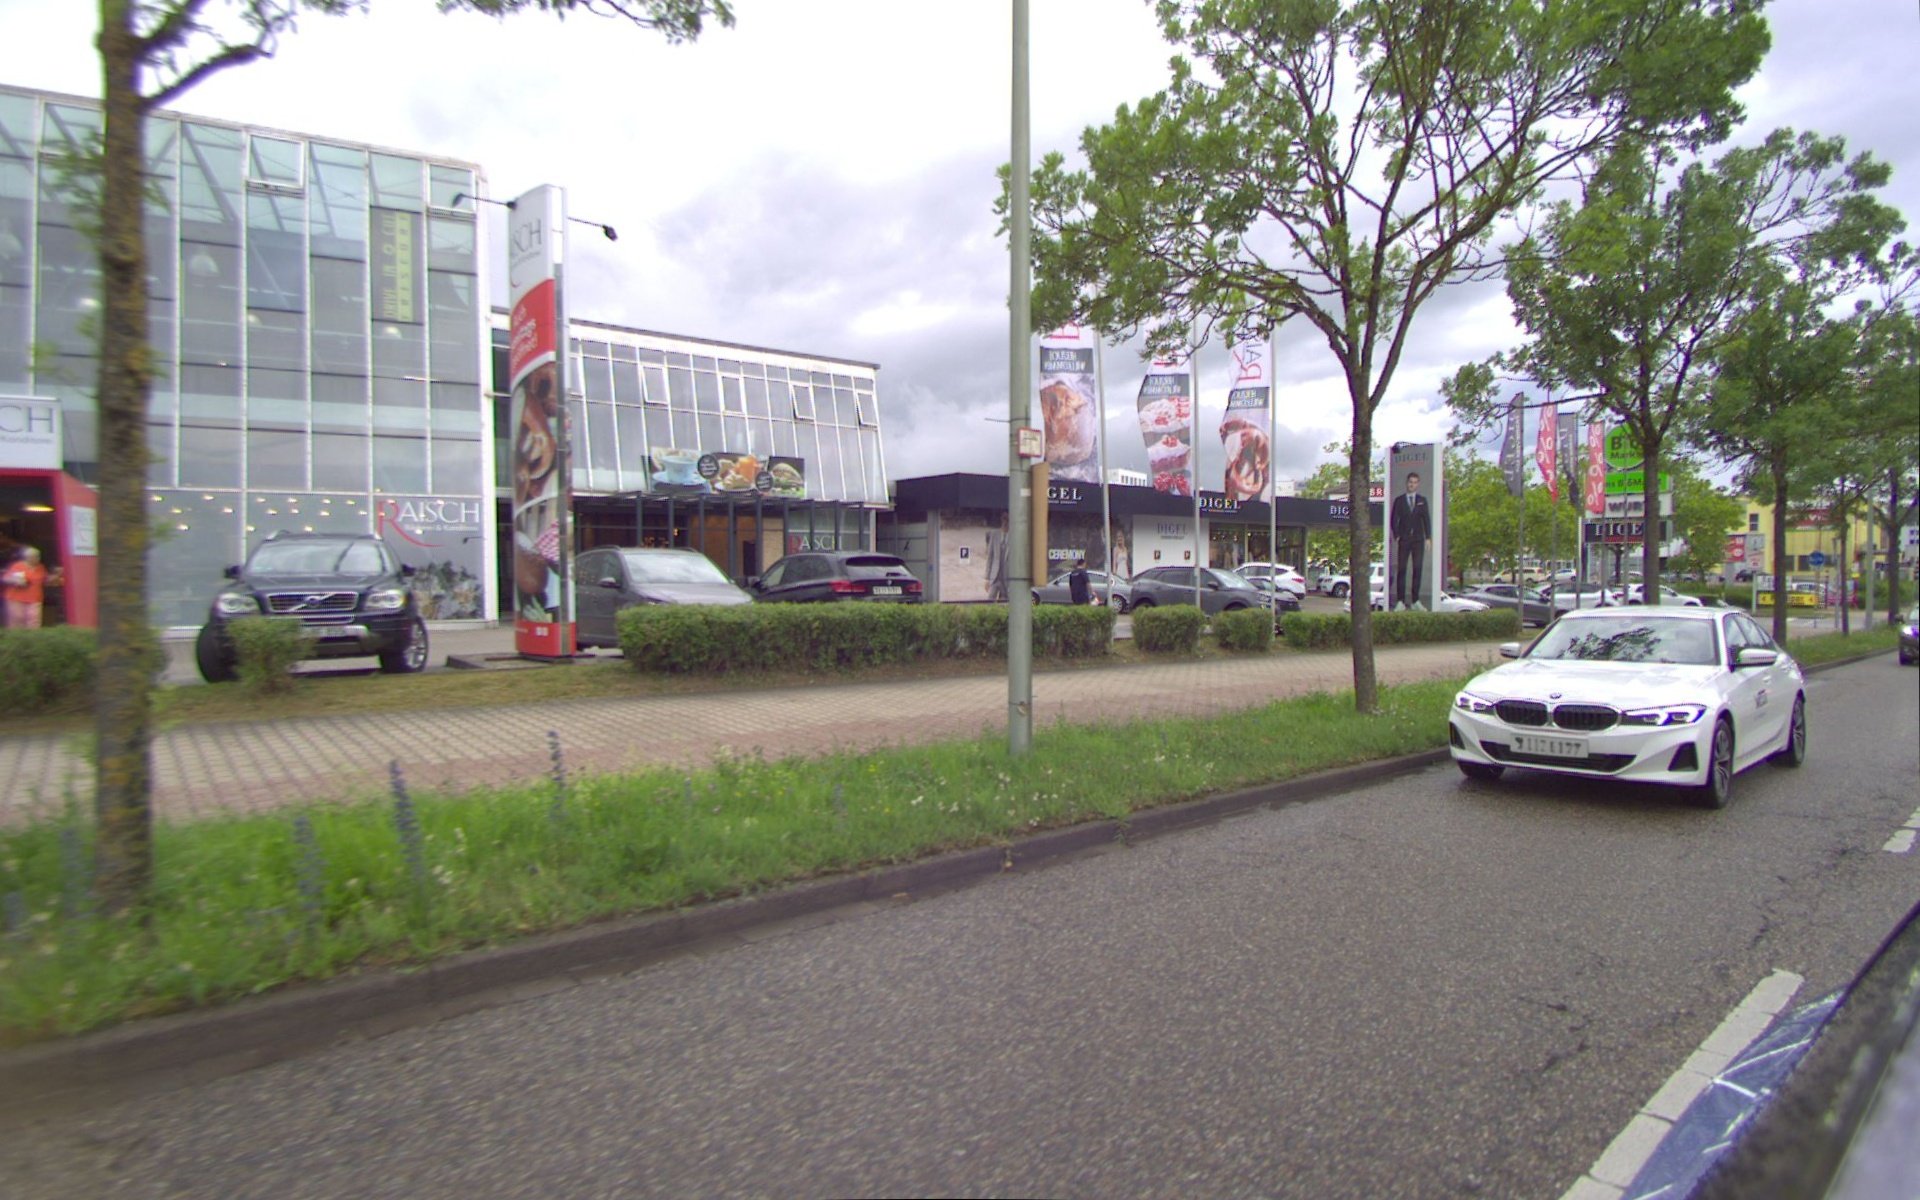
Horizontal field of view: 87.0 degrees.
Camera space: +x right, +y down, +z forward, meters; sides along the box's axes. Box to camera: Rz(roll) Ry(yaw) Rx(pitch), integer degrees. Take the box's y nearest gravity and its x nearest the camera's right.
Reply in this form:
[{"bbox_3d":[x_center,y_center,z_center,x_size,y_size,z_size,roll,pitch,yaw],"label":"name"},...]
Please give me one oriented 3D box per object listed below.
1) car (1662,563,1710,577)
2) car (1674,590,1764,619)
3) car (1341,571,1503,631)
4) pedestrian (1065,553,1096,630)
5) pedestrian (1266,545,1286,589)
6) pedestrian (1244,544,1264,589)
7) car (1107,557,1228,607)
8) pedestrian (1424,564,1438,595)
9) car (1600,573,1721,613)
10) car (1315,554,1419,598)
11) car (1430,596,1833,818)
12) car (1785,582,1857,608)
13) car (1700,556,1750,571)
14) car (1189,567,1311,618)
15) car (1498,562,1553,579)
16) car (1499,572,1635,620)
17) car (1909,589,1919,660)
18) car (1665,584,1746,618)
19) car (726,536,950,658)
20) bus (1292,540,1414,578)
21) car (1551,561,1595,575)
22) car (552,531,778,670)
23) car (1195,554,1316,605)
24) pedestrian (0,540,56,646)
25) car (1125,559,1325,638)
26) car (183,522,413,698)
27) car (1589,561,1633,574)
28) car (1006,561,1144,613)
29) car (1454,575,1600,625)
[{"bbox_3d":[80.232,-3.345,111.897,1.768,1.529,3.996,0,2,-40],"label":"car"},{"bbox_3d":[44.014,0.216,58.740,1.716,1.528,3.989,-4,3,-45],"label":"car"},{"bbox_3d":[13.964,-0.015,30.820,4.122,1.490,1.783,3,3,14],"label":"car"},{"bbox_3d":[2.925,-0.202,24.589,0.624,1.812,0.847,-1,-1,14],"label":"pedestrian"},{"bbox_3d":[14.914,-1.553,47.721,0.646,2.039,0.612,0,-1,-40],"label":"pedestrian"},{"bbox_3d":[13.497,-1.529,46.465,0.646,2.039,0.612,0,-1,-40],"label":"pedestrian"},{"bbox_3d":[7.252,-0.661,35.769,3.975,1.495,1.798,3,4,8],"label":"car"},{"bbox_3d":[26.347,-1.135,56.583,0.556,1.702,0.473,1,0,-27],"label":"pedestrian"},{"bbox_3d":[32.695,-0.334,47.331,4.237,1.598,1.742,3,3,4],"label":"car"},{"bbox_3d":[18.855,-1.134,47.008,4.045,1.766,1.798,3,4,7],"label":"car"},{"bbox_3d":[6.018,0.706,8.838,4.462,1.459,1.806,0,-1,-41],"label":"car"},{"bbox_3d":[64.752,-0.398,76.180,3.981,1.834,1.743,2,2,39],"label":"car"},{"bbox_3d":[86.840,-4.125,114.942,1.791,1.601,4.220,0,2,-40],"label":"car"},{"bbox_3d":[9.440,-0.231,32.771,4.049,1.463,1.765,1,4,-40],"label":"car"},{"bbox_3d":[64.671,-3.424,115.734,1.998,1.820,5.092,0,2,-40],"label":"car"},{"bbox_3d":[23.774,-0.194,39.797,4.113,1.598,1.738,3,3,12],"label":"car"},{"bbox_3d":[23.713,0.539,23.671,4.145,1.601,1.797,0,-1,-41],"label":"car"},{"bbox_3d":[38.111,0.030,51.828,1.715,1.599,3.863,2,0,10],"label":"car"},{"bbox_3d":[-2.124,-0.145,16.510,1.766,1.620,4.184,0,4,-36],"label":"car"},{"bbox_3d":[41.769,-4.226,106.962,17.022,3.557,4.102,0,2,-40],"label":"bus"},{"bbox_3d":[74.227,-3.914,122.537,1.791,1.601,4.220,0,2,-40],"label":"car"},{"bbox_3d":[-4.393,-0.106,14.615,1.794,1.620,4.184,0,4,-36],"label":"car"},{"bbox_3d":[11.773,-0.853,40.561,4.430,1.701,1.795,3,4,13],"label":"car"},{"bbox_3d":[-16.157,-0.122,17.353,0.734,1.781,0.686,-1,1,-20],"label":"pedestrian"},{"bbox_3d":[6.055,-0.104,23.537,1.829,1.490,4.180,0,4,-40],"label":"car"},{"bbox_3d":[-7.596,-0.051,11.996,1.887,1.620,4.680,1,4,-29],"label":"car"},{"bbox_3d":[80.572,-4.022,125.224,1.791,1.601,4.220,0,2,-40],"label":"car"},{"bbox_3d":[3.852,-0.455,33.964,4.424,1.412,1.797,3,4,9],"label":"car"},{"bbox_3d":[19.571,-0.020,35.103,3.951,1.454,1.741,3,3,7],"label":"car"}]
